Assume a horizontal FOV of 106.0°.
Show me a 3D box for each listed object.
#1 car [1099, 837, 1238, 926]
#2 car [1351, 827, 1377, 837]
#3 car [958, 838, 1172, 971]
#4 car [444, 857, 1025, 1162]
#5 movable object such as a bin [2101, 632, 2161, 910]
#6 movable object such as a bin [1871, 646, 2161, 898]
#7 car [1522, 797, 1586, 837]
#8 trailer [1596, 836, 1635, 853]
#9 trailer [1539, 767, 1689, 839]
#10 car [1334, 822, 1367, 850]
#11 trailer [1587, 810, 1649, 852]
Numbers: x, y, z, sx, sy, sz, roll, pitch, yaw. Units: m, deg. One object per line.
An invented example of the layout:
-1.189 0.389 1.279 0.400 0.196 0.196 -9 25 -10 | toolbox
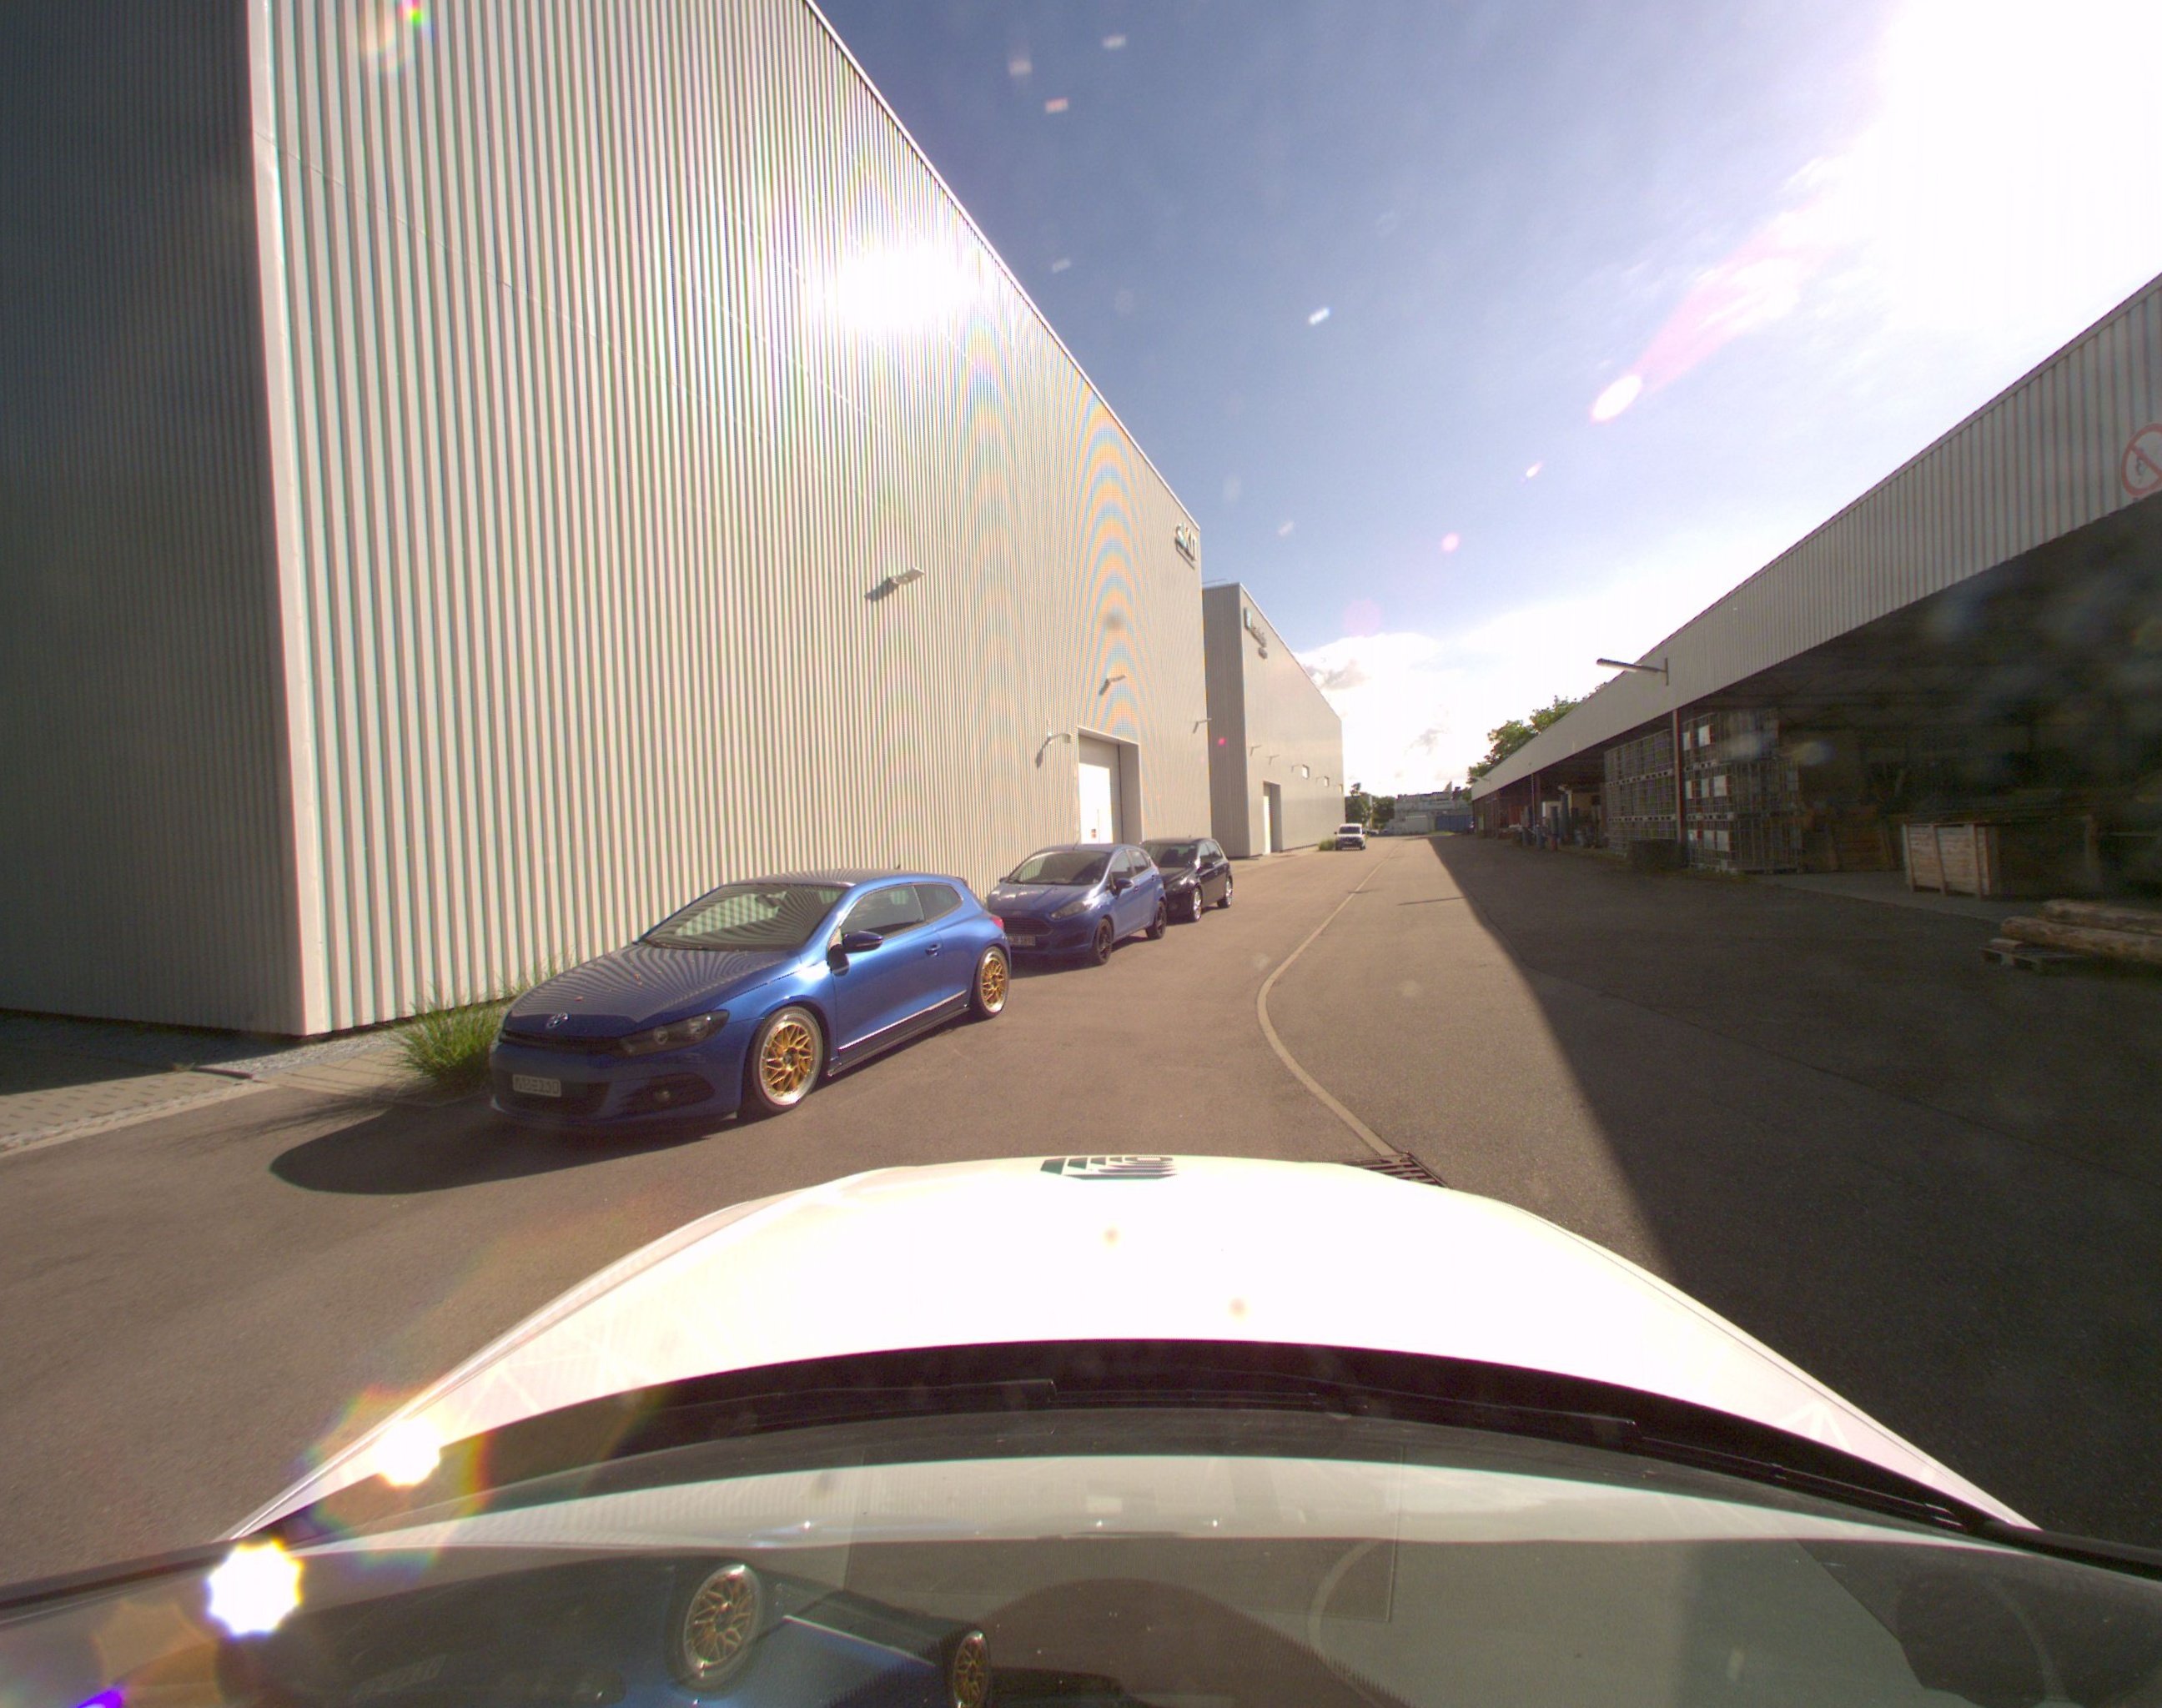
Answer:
1.836 0.421 15.869 1.636 1.446 3.900 1 2 23 | car
46.411 -3.623 133.509 3.851 1.461 1.632 -2 1 22 | car
-0.025 0.552 11.286 1.605 1.447 3.785 -1 2 21 | car
-2.048 0.778 6.123 1.654 1.349 3.975 -1 2 22 | car
13.979 -1.005 6.755 6.298 2.905 2.701 -3 1 22 | movable object such as a bin
14.983 -1.138 10.075 6.874 2.905 2.701 -3 1 22 | movable object such as a bin
32.281 -2.511 55.706 3.474 2.441 2.011 -3 0 23 | car
18.649 -0.333 28.423 0.963 0.567 0.736 0 3 18 | trailer
29.146 -2.744 44.871 6.333 3.370 2.840 -3 0 21 | trailer
18.462 -1.243 55.627 1.891 1.793 4.021 -2 1 21 | car
20.489 -0.899 31.157 1.533 1.518 1.923 0 3 18 | trailer
